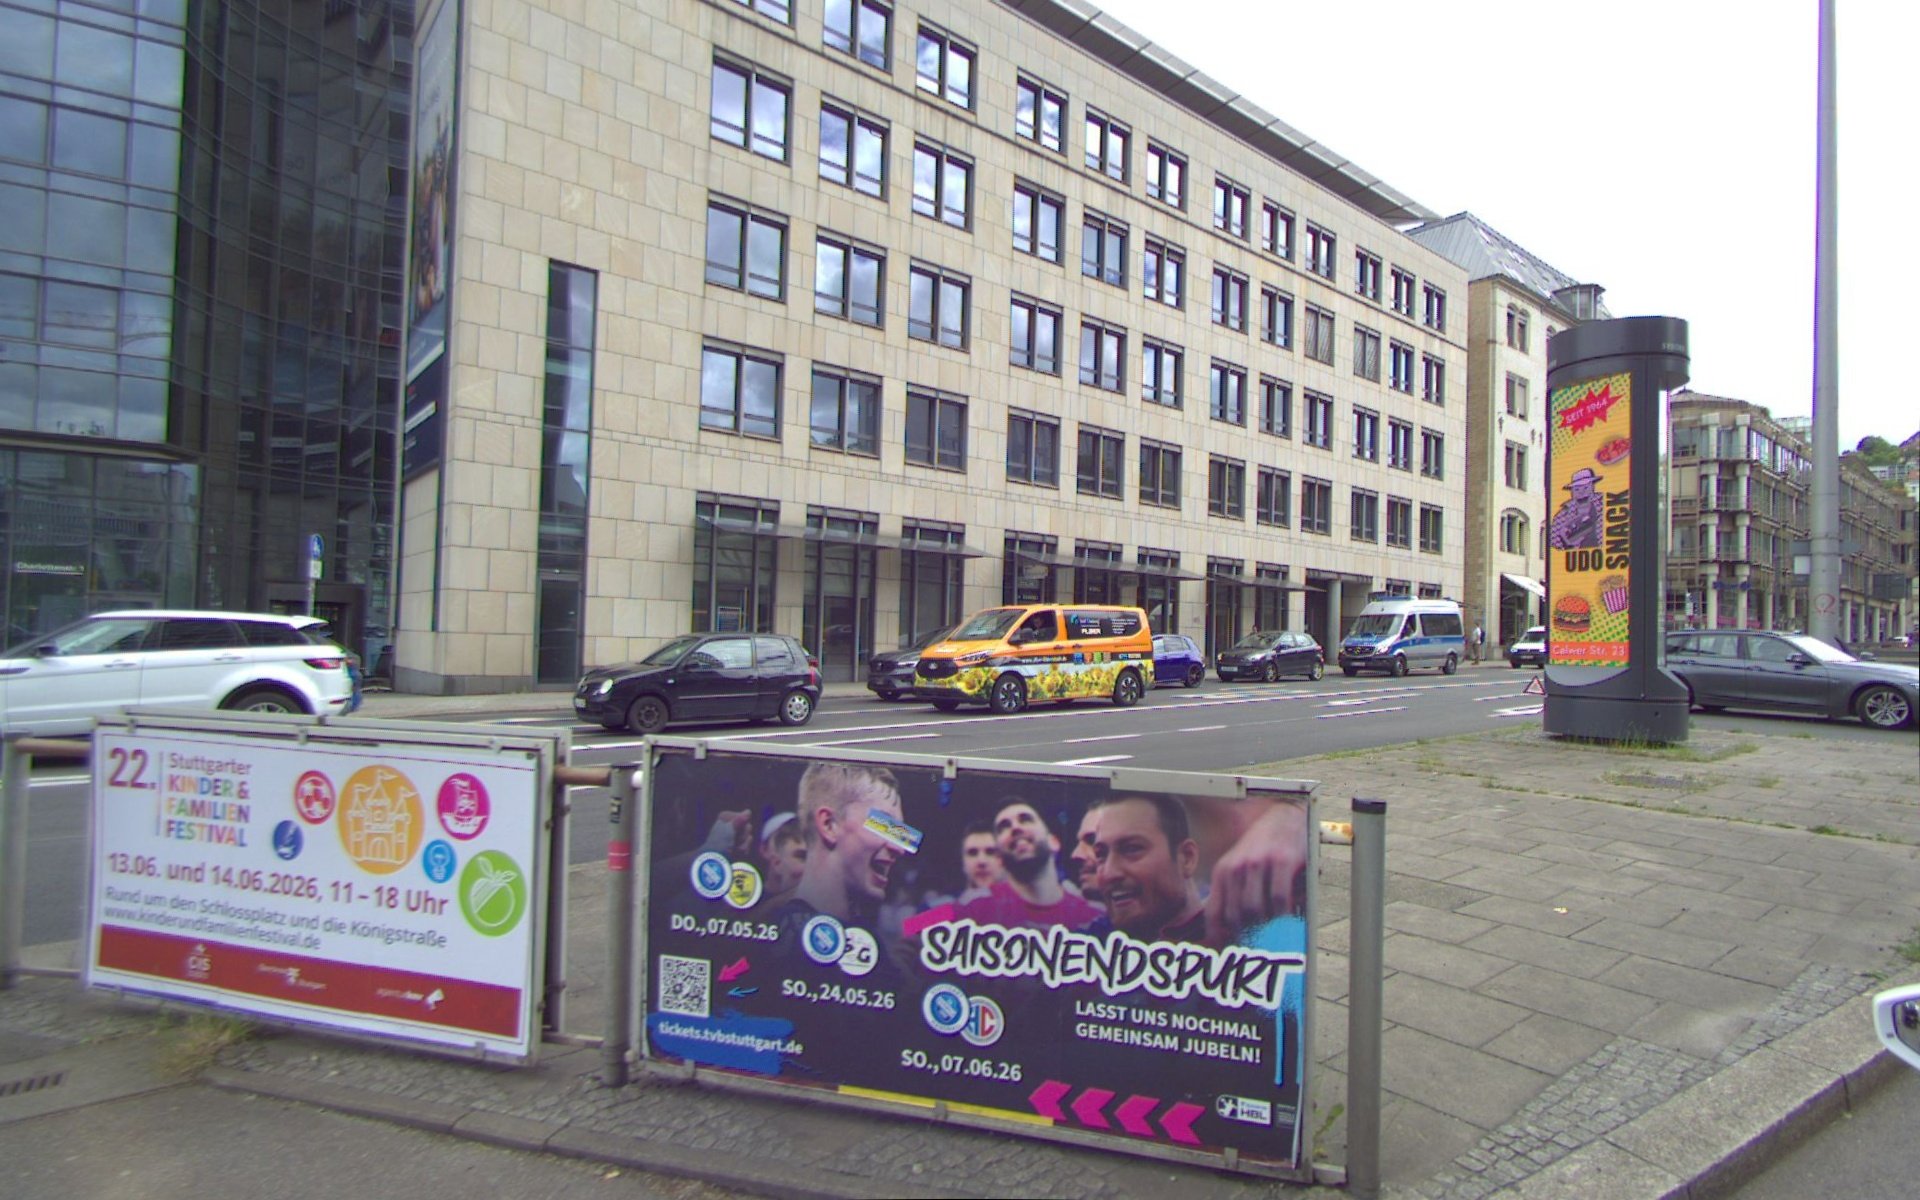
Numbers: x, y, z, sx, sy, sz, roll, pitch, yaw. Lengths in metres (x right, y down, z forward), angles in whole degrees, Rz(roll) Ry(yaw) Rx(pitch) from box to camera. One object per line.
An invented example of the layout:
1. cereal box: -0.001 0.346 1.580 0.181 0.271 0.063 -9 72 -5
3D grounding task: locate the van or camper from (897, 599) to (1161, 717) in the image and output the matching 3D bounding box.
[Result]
1. van or camper: 1.407 1.048 18.889 5.041 1.947 1.898 2 -3 -39

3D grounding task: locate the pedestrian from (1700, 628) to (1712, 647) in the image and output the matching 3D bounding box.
1. pedestrian: 59.840 3.003 80.598 0.692 1.564 0.842 -1 -1 43

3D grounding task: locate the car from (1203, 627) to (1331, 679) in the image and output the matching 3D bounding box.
1. car: 9.313 1.587 30.364 3.996 1.467 1.755 2 -3 -39

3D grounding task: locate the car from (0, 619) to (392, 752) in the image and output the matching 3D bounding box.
1. car: -10.241 1.057 13.750 4.054 1.545 1.979 1 -2 -38

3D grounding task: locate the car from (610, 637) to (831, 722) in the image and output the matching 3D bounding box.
1. car: -4.264 1.367 18.118 3.600 1.359 1.545 1 -3 -38

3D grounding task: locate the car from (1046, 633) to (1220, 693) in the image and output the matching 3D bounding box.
1. car: 4.567 1.582 26.179 4.532 1.414 1.978 2 -2 -38

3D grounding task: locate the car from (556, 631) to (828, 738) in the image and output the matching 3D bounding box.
1. car: -3.894 1.164 14.873 3.600 1.397 1.545 1 -3 -38

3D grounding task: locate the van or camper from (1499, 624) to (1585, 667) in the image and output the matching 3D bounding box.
1. van or camper: 25.118 1.921 43.269 4.451 1.775 1.852 1 -1 -40

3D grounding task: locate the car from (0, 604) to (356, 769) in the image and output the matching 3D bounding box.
1. car: -9.169 0.885 11.077 4.270 1.619 1.725 1 -2 -32

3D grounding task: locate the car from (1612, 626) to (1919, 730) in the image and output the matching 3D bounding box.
1. car: 13.752 1.191 16.736 1.859 1.478 4.529 1 -1 -30

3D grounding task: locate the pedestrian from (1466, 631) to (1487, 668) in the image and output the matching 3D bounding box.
1. pedestrian: 22.491 2.139 43.746 0.673 1.597 0.548 1 -1 -35

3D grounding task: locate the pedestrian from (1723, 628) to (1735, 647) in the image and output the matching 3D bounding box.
1. pedestrian: 61.022 2.971 79.676 0.692 1.564 0.842 -1 -1 43

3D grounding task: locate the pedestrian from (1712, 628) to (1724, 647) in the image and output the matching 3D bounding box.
1. pedestrian: 60.523 2.986 80.216 0.692 1.564 0.842 -1 -1 43

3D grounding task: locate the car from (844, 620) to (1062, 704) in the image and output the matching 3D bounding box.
1. car: -0.073 1.331 22.239 4.644 1.667 1.978 2 -3 -39

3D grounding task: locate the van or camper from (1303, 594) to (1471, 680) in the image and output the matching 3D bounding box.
1. van or camper: 15.143 1.254 35.462 6.192 2.762 2.978 1 -1 -39
